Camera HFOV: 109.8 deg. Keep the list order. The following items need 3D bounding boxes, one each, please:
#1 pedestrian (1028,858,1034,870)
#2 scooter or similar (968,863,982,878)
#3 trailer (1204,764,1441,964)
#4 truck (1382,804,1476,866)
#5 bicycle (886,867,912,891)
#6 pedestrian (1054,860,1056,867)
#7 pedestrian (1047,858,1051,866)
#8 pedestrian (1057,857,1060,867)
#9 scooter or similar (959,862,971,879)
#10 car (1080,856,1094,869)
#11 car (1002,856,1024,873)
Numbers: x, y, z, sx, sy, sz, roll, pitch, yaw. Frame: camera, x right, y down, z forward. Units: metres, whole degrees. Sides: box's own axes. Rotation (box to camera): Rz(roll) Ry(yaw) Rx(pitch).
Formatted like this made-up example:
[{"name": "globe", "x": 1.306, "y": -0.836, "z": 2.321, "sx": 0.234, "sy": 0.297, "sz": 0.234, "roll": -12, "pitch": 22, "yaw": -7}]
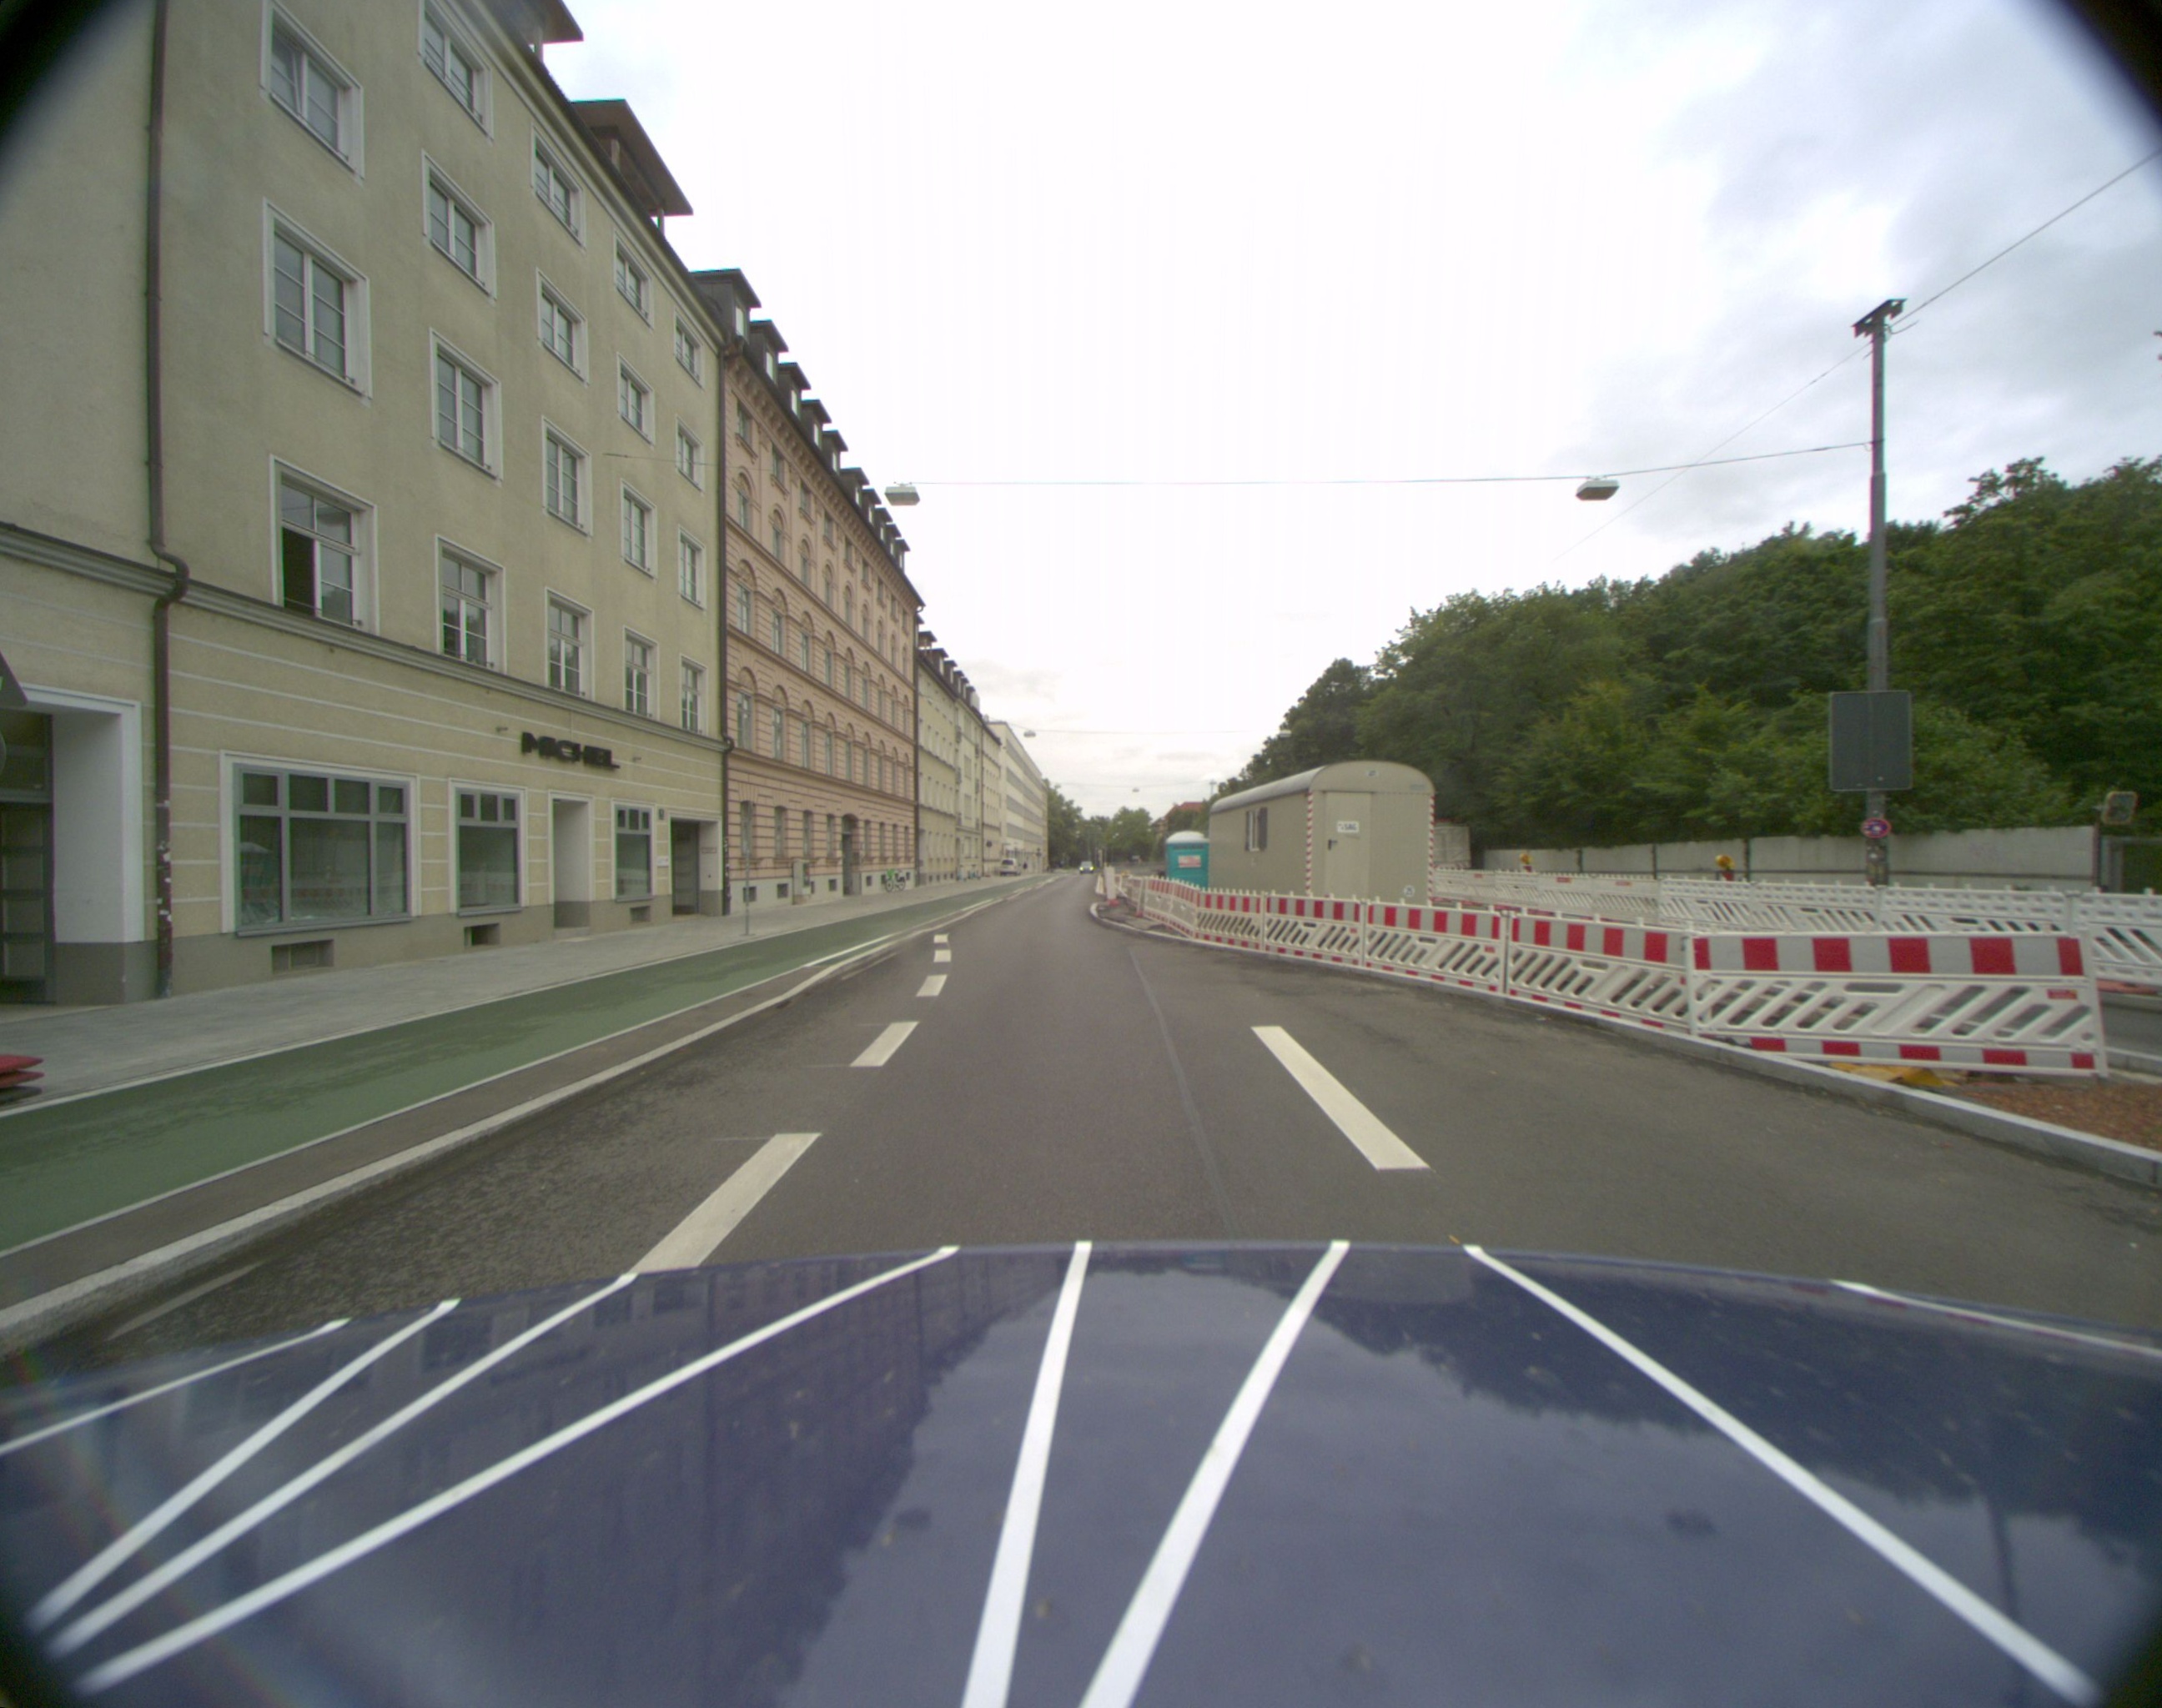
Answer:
[{"name": "pedestrian", "x": -6.557, "y": 1.328, "z": 99.739, "sx": 0.666, "sy": 1.626, "sz": 0.737, "roll": 0, "pitch": 0, "yaw": 1}, {"name": "scooter or similar", "x": -8.630, "y": 1.345, "z": 61.933, "sx": 1.121, "sy": 1.224, "sz": 0.246, "roll": 1, "pitch": 1, "yaw": -32}, {"name": "trailer", "x": 4.536, "y": 0.176, "z": 16.068, "sx": 2.233, "sy": 3.224, "sz": 7.517, "roll": -1, "pitch": 0, "yaw": -3}, {"name": "truck", "x": 16.524, "y": -0.829, "z": 36.494, "sx": 1.998, "sy": 2.712, "sz": 5.871, "roll": -1, "pitch": 0, "yaw": 2}, {"name": "bicycle", "x": -9.261, "y": 1.251, "z": 38.673, "sx": 0.426, "sy": 1.167, "sz": 1.734, "roll": 0, "pitch": 0, "yaw": 19}, {"name": "pedestrian", "x": -5.029, "y": 1.803, "z": 145.459, "sx": 0.367, "sy": 1.239, "sz": 0.470, "roll": 0, "pitch": 0, "yaw": 2}, {"name": "pedestrian", "x": -6.242, "y": 1.600, "z": 147.495, "sx": 0.753, "sy": 1.610, "sz": 0.704, "roll": 0, "pitch": 0, "yaw": 2}, {"name": "pedestrian", "x": -4.305, "y": 1.500, "z": 146.103, "sx": 0.514, "sy": 1.825, "sz": 0.602, "roll": 0, "pitch": 0, "yaw": 2}, {"name": "scooter or similar", "x": -8.707, "y": 1.246, "z": 57.175, "sx": 0.246, "sy": 1.224, "sz": 1.122, "roll": 2, "pitch": 1, "yaw": 27}, {"name": "car", "x": 0.896, "y": 1.222, "z": 110.422, "sx": 1.998, "sy": 1.738, "sz": 4.000, "roll": 0, "pitch": 0, "yaw": 0}, {"name": "car", "x": -7.103, "y": 1.058, "z": 79.966, "sx": 1.737, "sy": 1.739, "sz": 4.436, "roll": 0, "pitch": 0, "yaw": 2}]
